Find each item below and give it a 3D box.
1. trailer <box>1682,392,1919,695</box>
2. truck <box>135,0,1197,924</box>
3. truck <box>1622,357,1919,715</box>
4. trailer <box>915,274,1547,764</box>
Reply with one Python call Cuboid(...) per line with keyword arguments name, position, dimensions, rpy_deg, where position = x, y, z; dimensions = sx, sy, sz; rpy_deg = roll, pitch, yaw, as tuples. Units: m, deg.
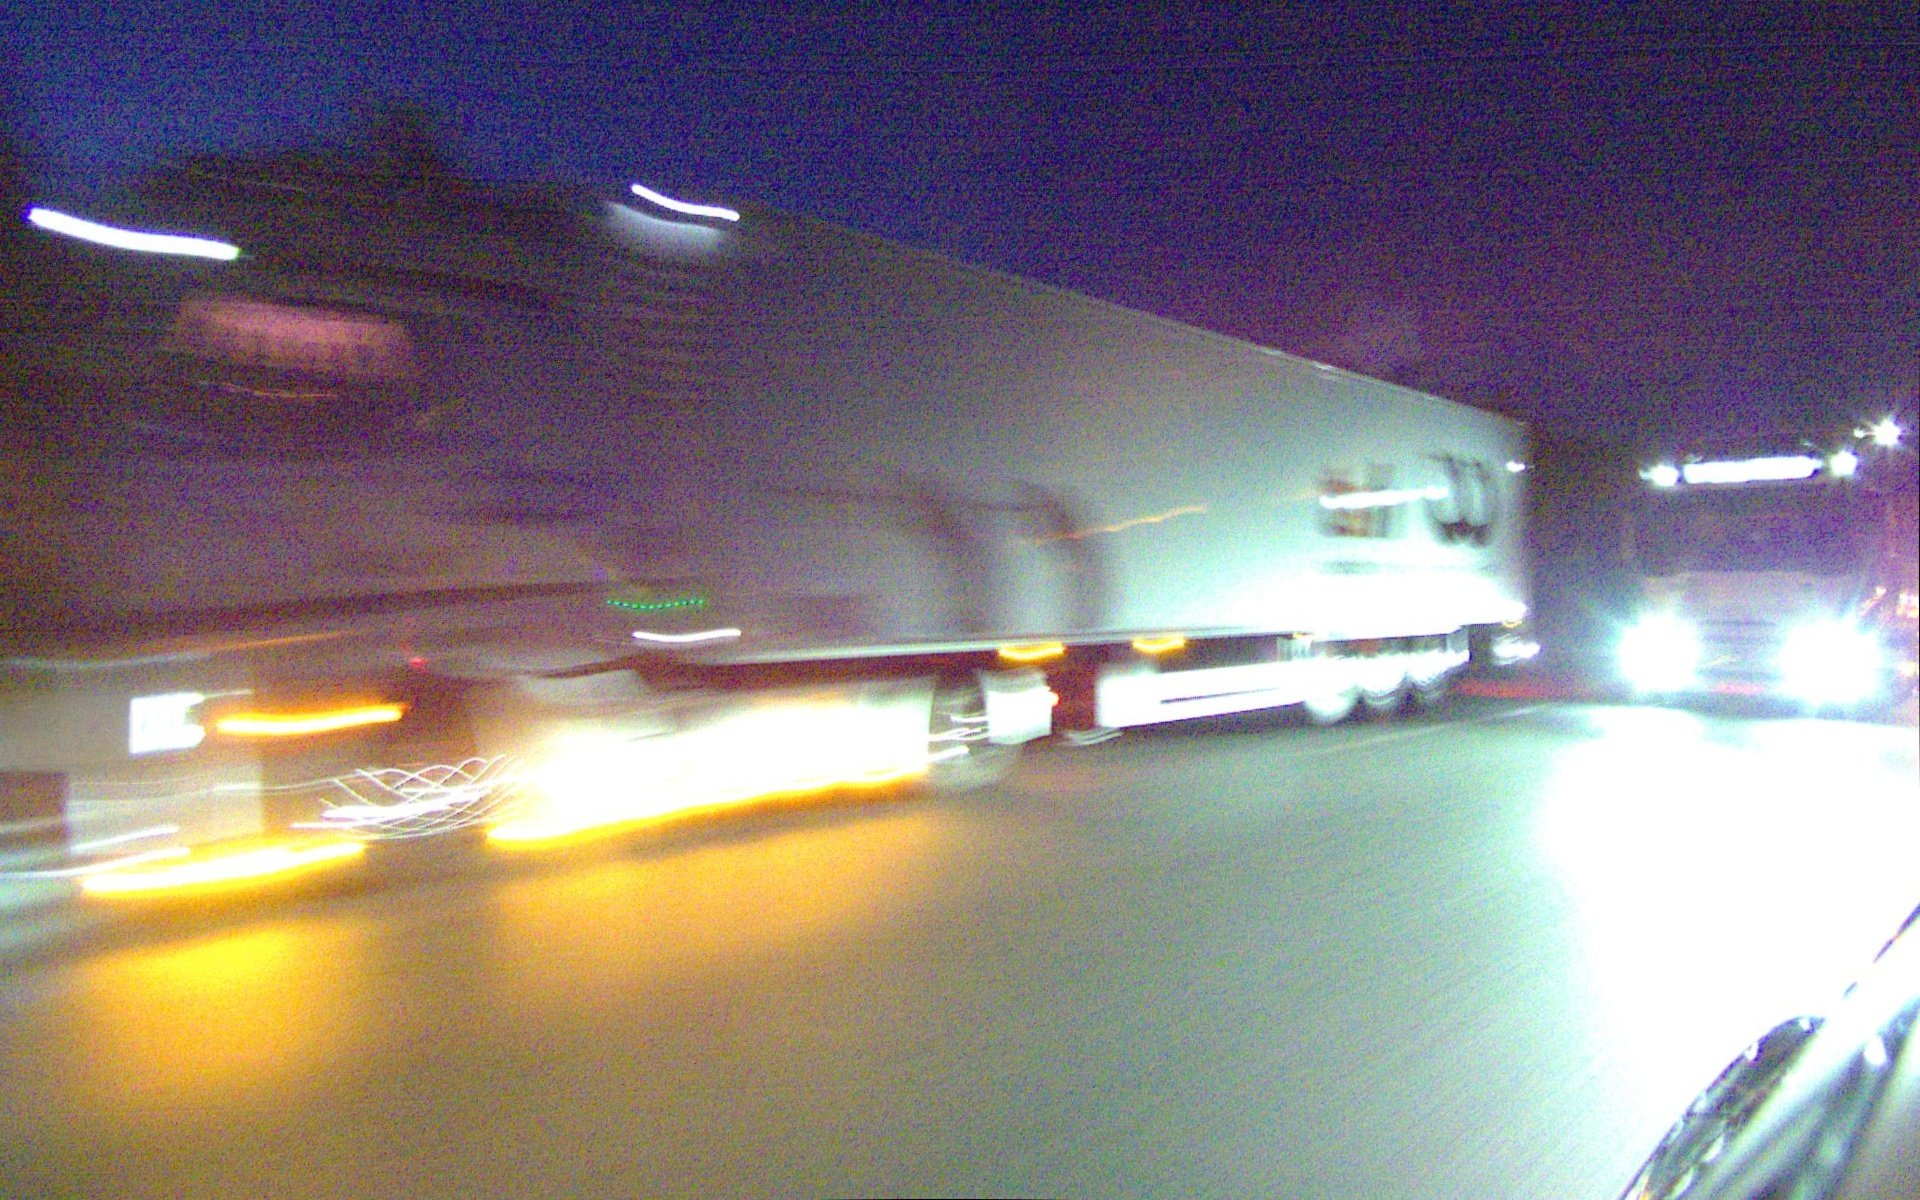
Cuboid(name="trailer", position=(17.560, -0.814, 19.604), dimensions=(13.273, 4.260, 2.747), rpy_deg=(0, -1, -41))
Cuboid(name="truck", position=(-1.516, -0.668, 7.866), dimensions=(7.539, 4.124, 2.595), rpy_deg=(0, -1, -41))
Cuboid(name="truck", position=(12.572, -0.768, 15.196), dimensions=(6.605, 4.260, 2.666), rpy_deg=(0, -1, -41))
Cuboid(name="trailer", position=(4.096, -0.696, 12.722), dimensions=(9.833, 4.124, 2.595), rpy_deg=(0, -1, -41))
